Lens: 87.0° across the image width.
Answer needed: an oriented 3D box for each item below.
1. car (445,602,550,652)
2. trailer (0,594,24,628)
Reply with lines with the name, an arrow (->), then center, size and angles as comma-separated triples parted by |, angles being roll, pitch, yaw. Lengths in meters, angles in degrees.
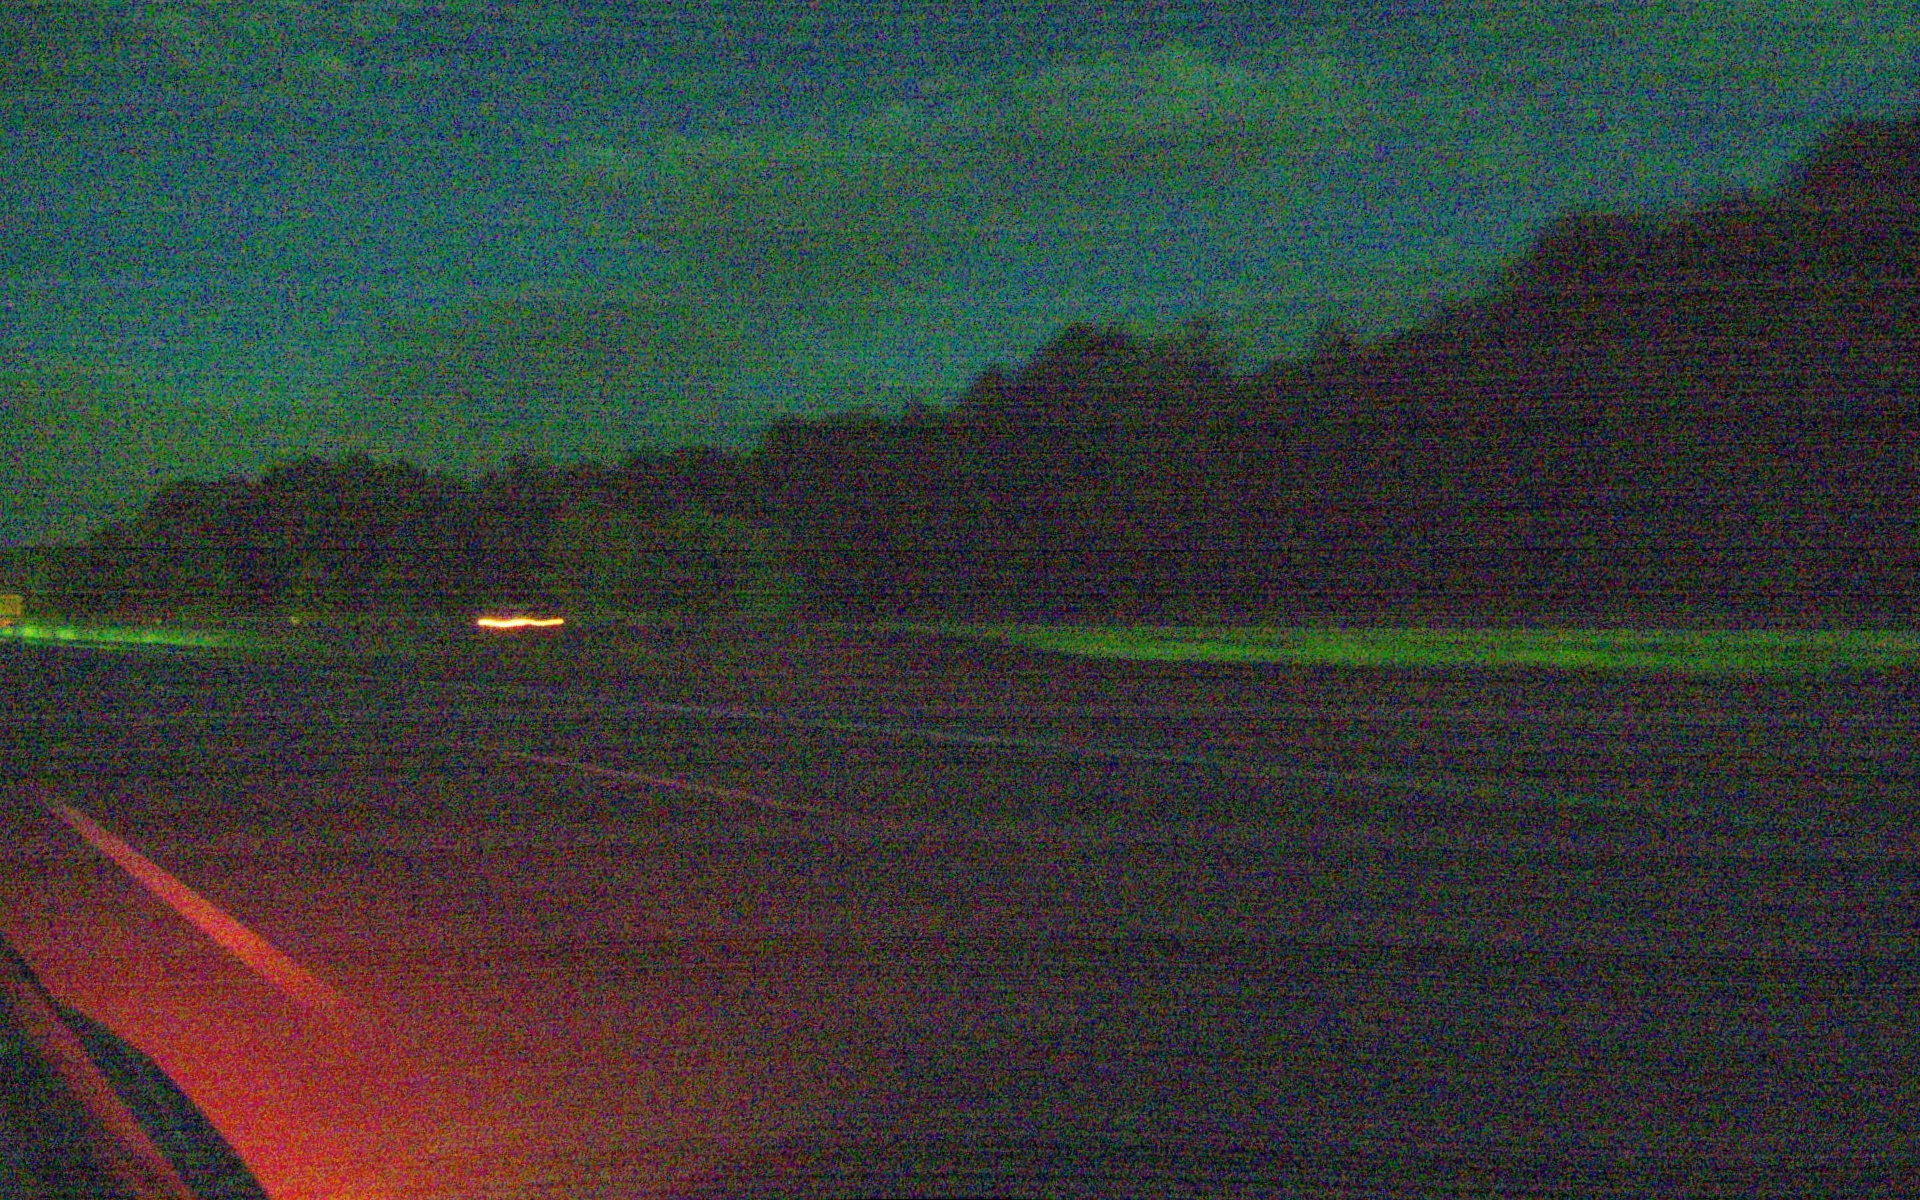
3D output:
car -> -17.937, 0.999, 39.205 | 4.395, 1.800, 1.974 | 0, 0, 39
trailer -> -119.948, 1.320, 124.969 | 17.256, 4.030, 3.510 | 0, 0, 38
